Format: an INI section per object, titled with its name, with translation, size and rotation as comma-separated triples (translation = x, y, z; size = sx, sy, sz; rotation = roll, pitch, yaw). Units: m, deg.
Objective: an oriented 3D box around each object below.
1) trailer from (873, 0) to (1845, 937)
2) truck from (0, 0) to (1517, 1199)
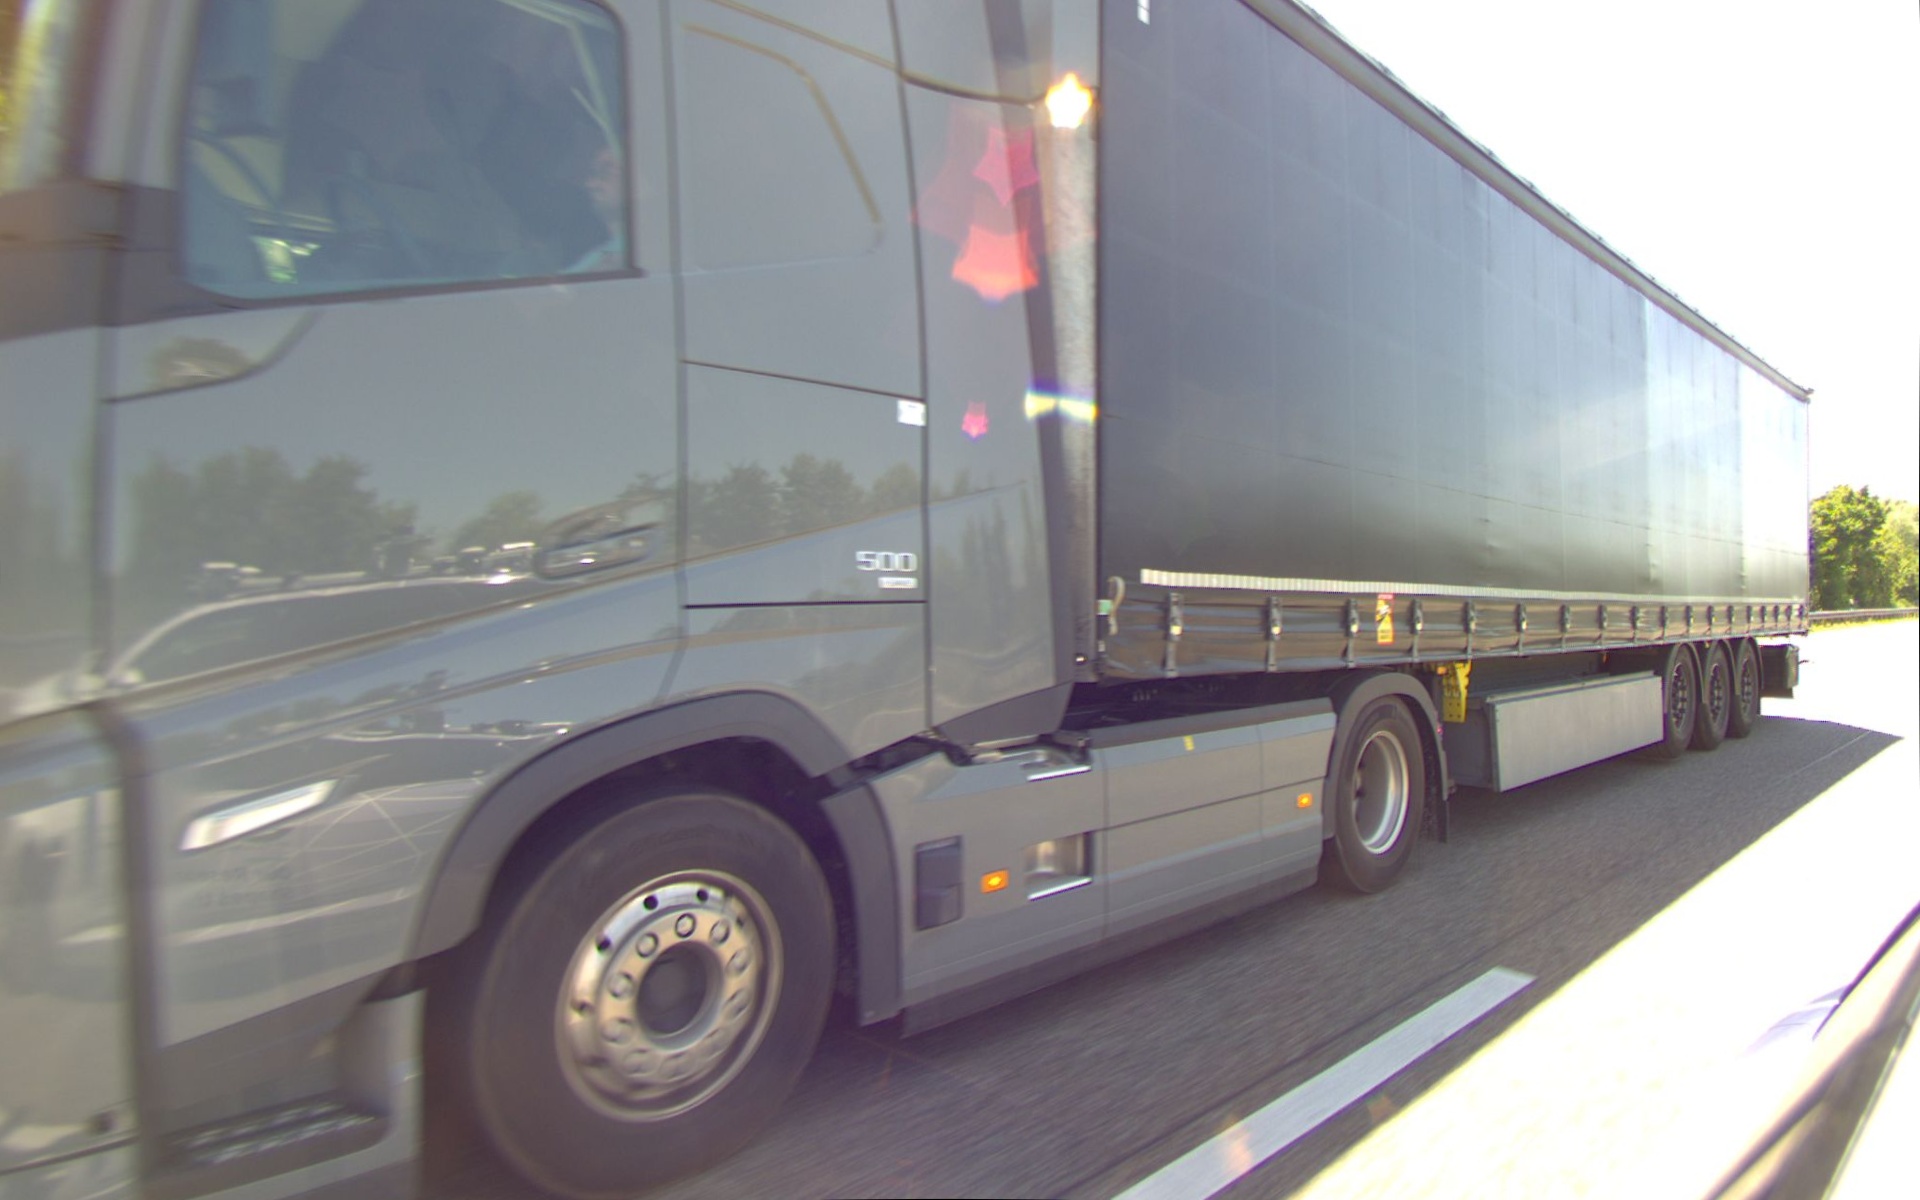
[trailer]
translation = 5.326, -0.709, 9.373
size = 13.302, 4.004, 2.557
rotation = 0, 0, -41
[truck]
translation = -0.043, -0.646, 4.682
size = 6.400, 4.004, 2.557
rotation = 0, 0, -41
